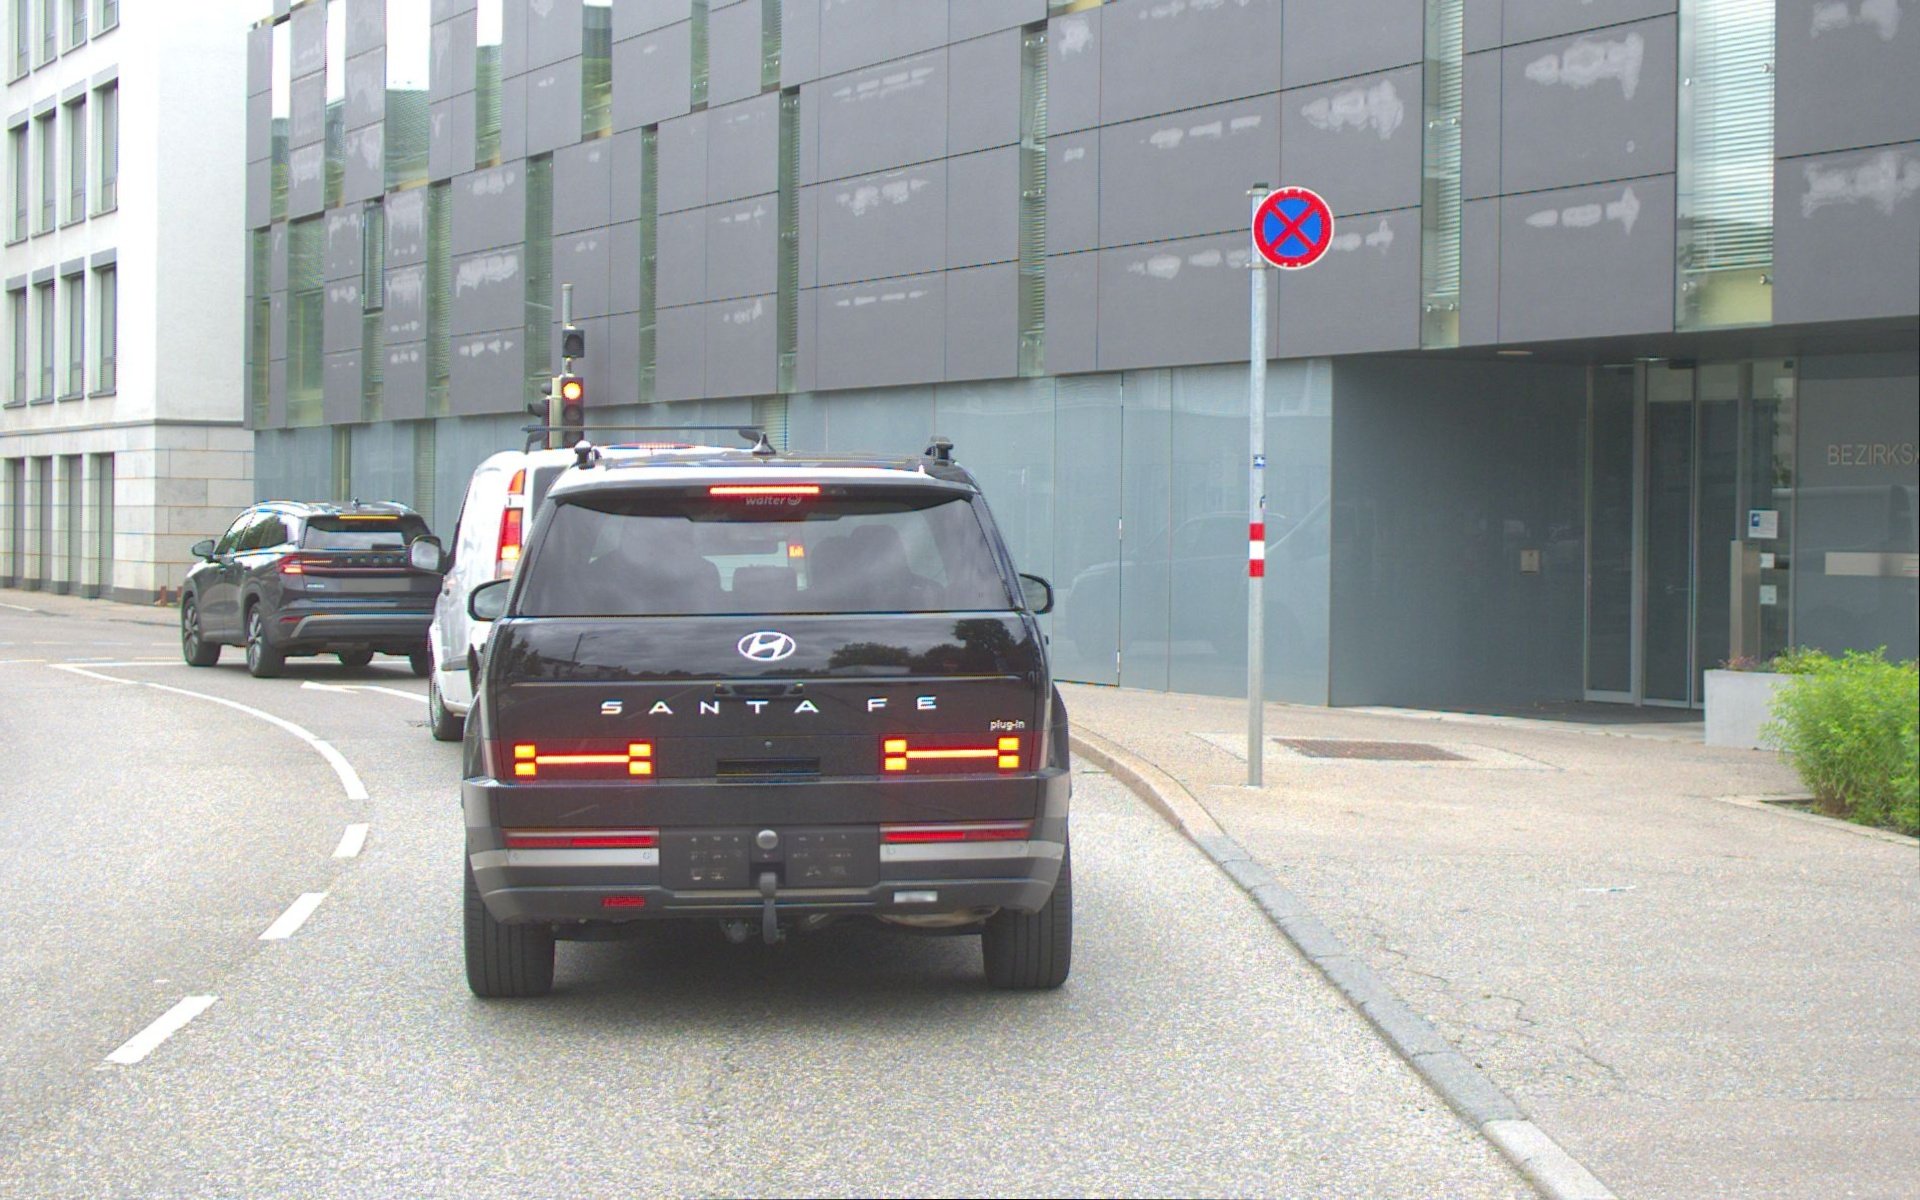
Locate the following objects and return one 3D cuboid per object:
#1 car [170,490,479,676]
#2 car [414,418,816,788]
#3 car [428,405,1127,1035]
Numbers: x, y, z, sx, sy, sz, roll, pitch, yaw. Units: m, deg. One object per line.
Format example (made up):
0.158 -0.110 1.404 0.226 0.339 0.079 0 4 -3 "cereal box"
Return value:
-6.234 -0.193 33.355 1.847 1.671 4.376 -1 1 -26 "car"
-2.240 -0.050 21.177 1.855 2.026 4.439 0 2 -14 "car"
-0.673 0.294 11.824 1.915 1.719 4.171 2 1 -4 "car"
